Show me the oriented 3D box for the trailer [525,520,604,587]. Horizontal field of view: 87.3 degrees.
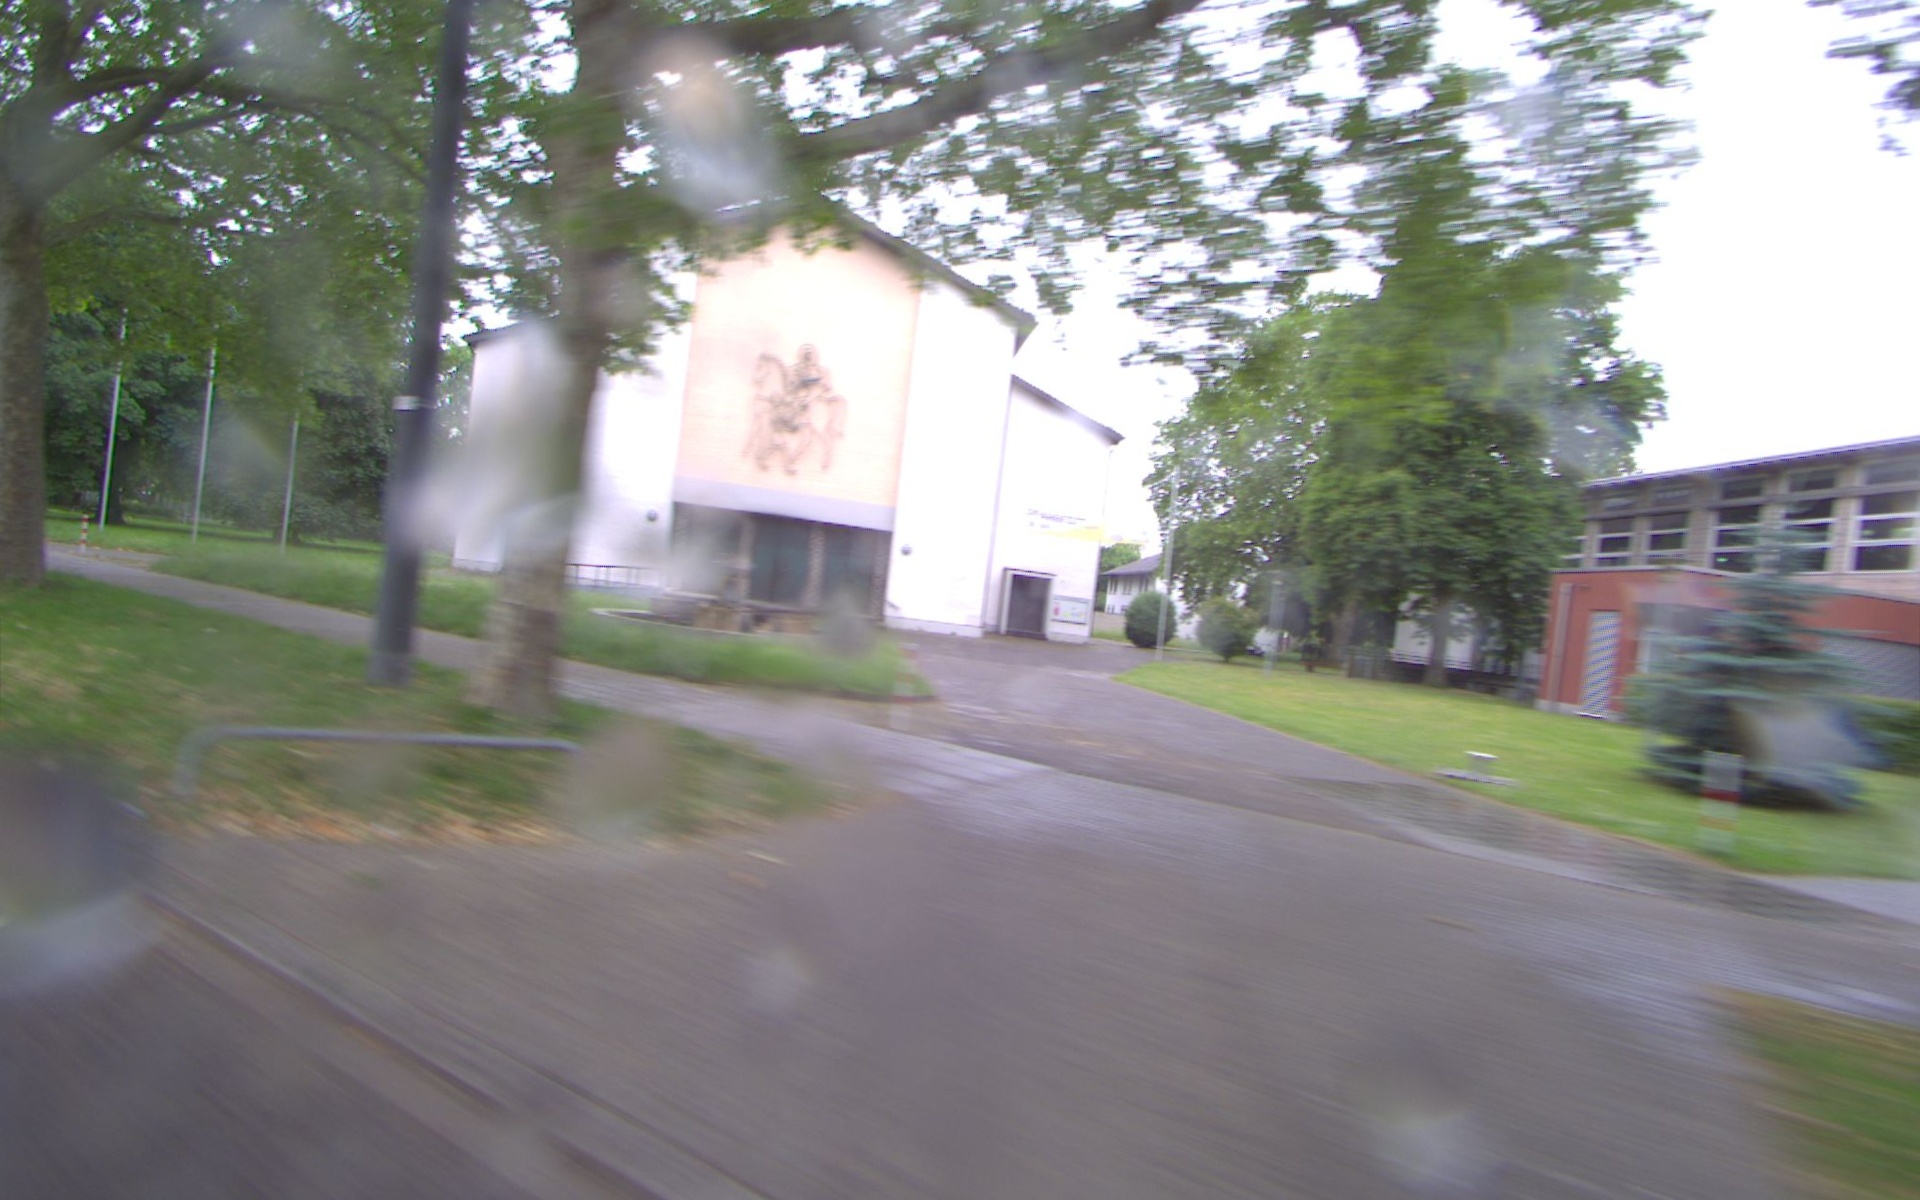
[{"bbox_3d":[-15.942,-1.819,40.777,1.859,2.338,4.014,6,0,-8],"label":"trailer"}]
